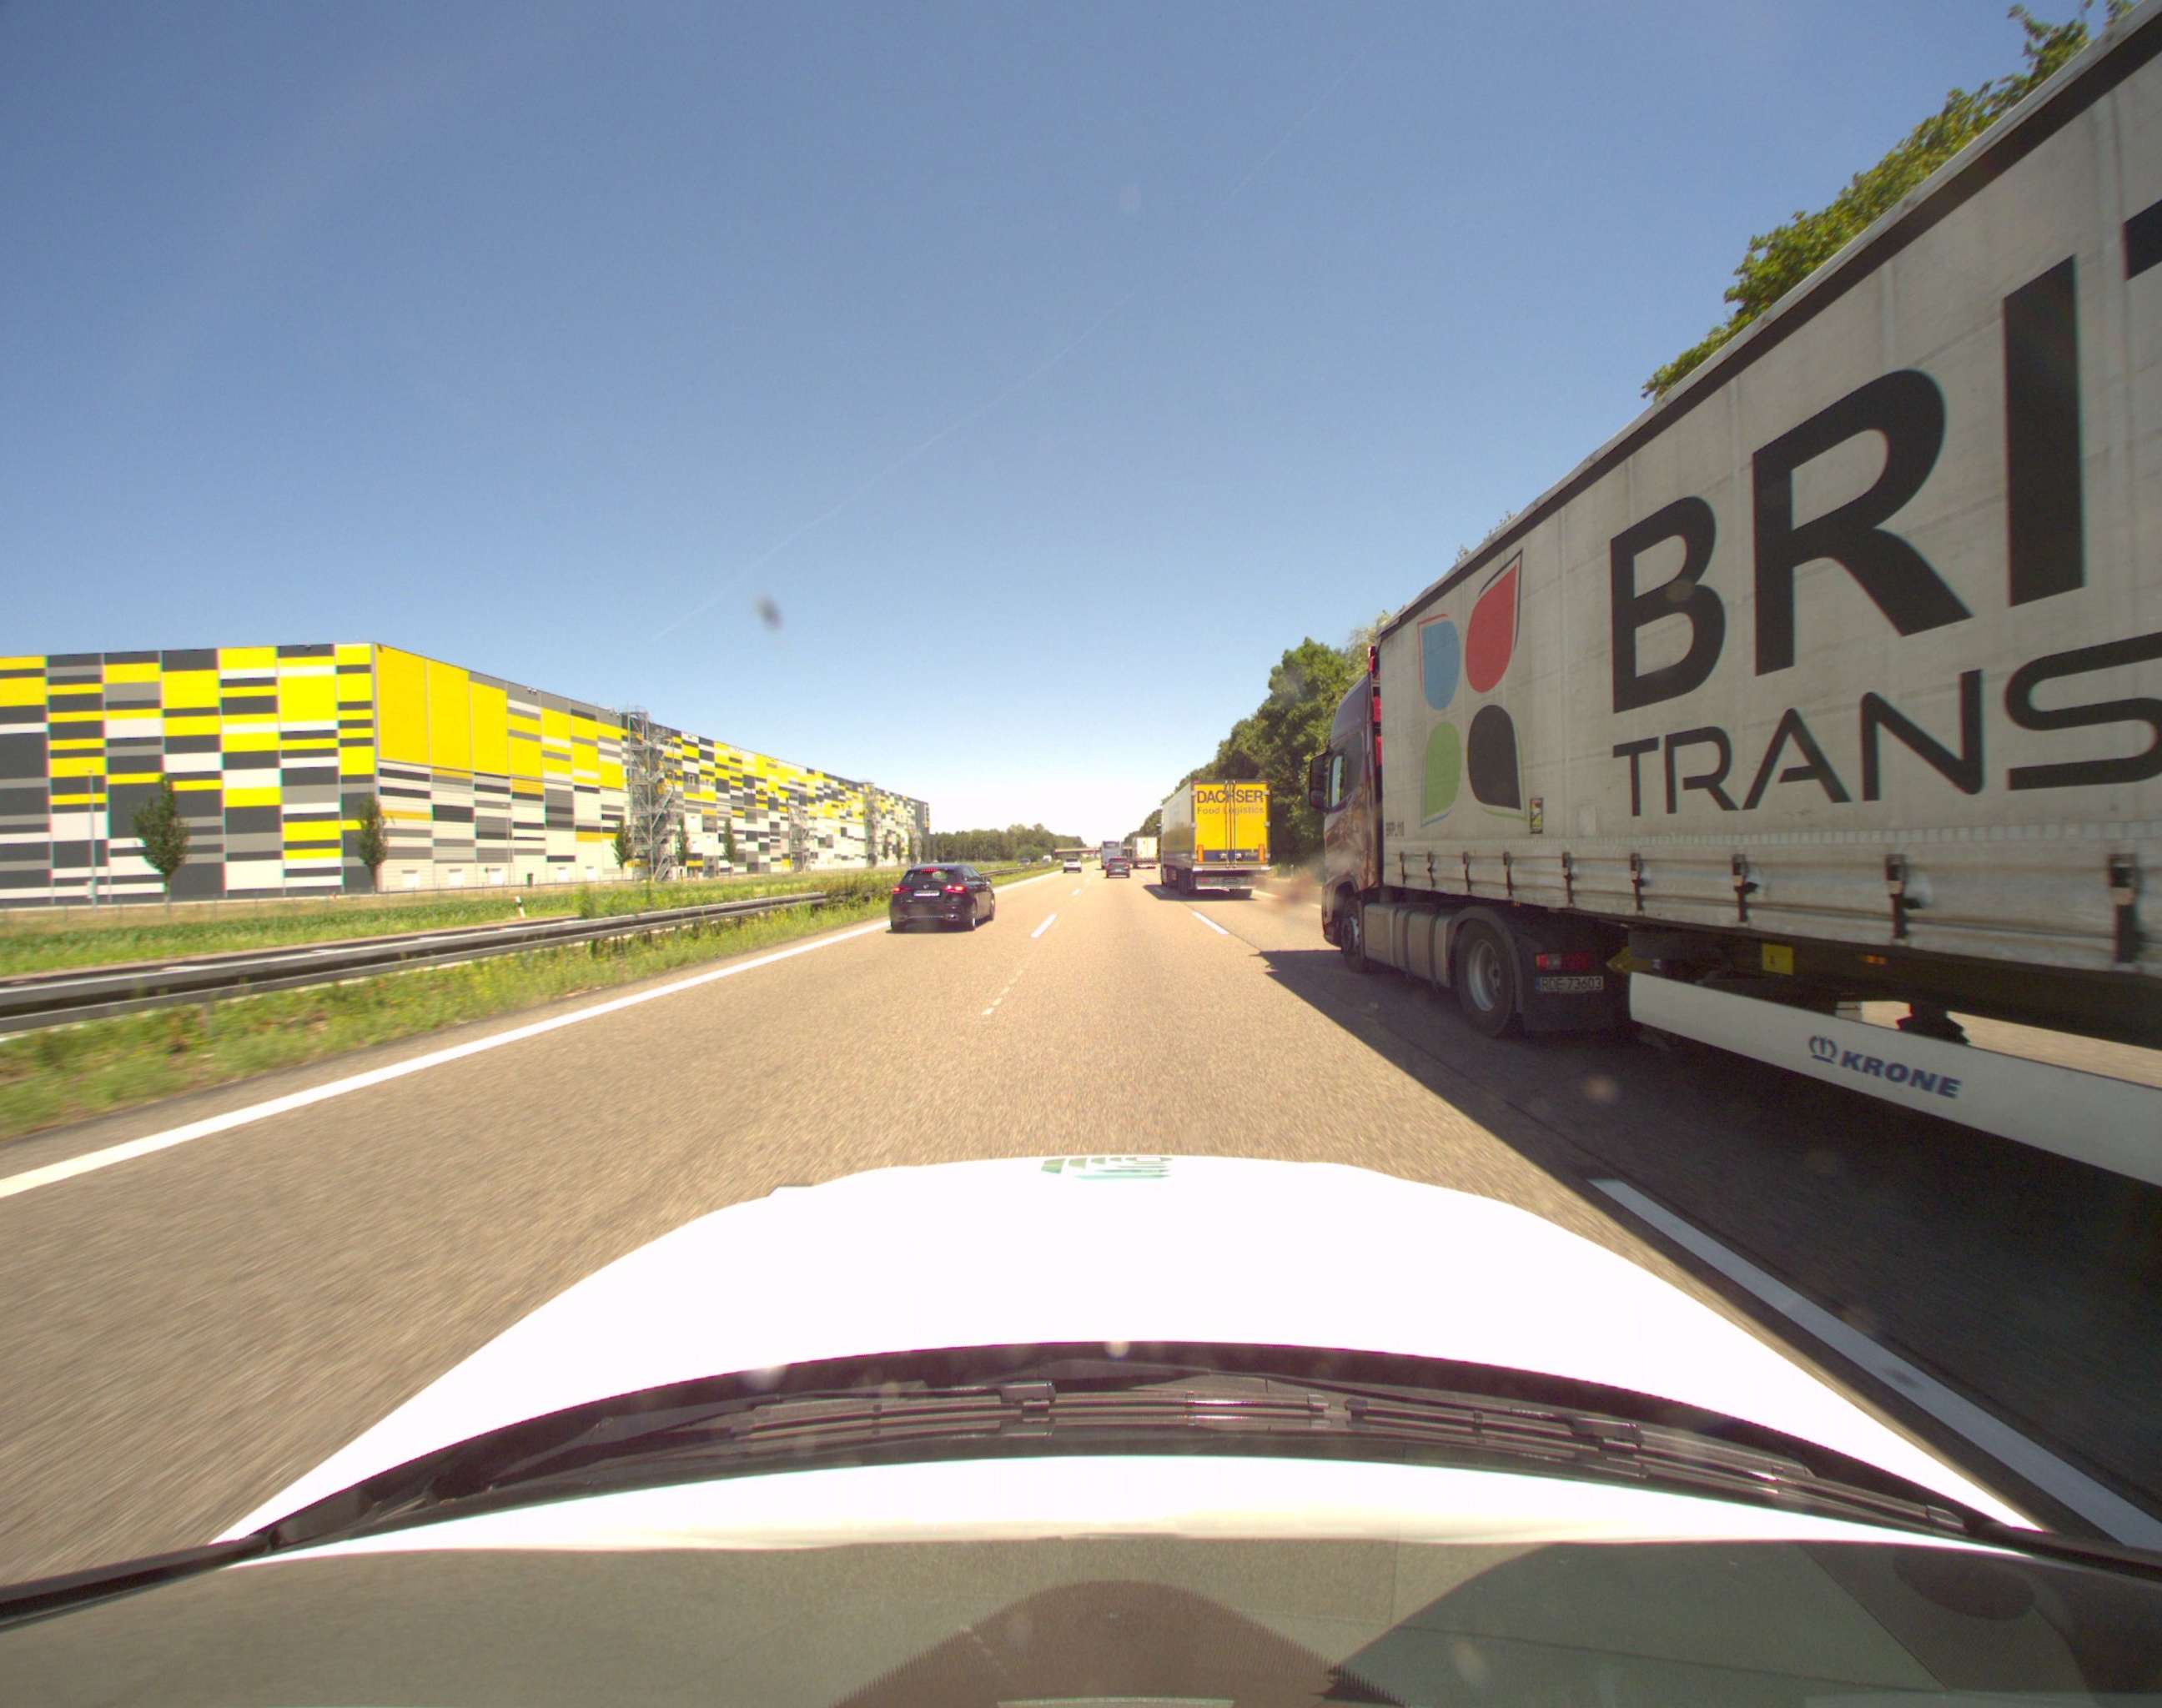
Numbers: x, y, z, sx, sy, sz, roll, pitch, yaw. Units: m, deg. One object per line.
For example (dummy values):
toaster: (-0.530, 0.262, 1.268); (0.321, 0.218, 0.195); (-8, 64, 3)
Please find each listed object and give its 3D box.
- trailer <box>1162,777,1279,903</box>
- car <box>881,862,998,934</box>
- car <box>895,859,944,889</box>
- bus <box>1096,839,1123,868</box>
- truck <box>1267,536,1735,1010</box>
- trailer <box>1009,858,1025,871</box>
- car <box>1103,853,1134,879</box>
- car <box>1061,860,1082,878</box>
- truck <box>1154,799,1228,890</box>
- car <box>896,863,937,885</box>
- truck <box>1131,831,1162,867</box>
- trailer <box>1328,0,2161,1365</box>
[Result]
trailer: (5.053, -0.441, 31.923); (2.824, 3.954, 11.687); (-1, 0, 2)
car: (-3.093, 0.916, 18.582); (1.785, 1.412, 4.054); (-1, 0, 2)
car: (-10.950, 1.306, 55.512); (2.038, 1.806, 5.420); (-3, 0, 2)
bus: (3.527, -0.044, 101.860); (3.052, 3.326, 8.274); (-3, 0, 1)
truck: (4.643, -0.737, 10.717); (3.076, 4.441, 6.054); (-1, -1, 1)
trailer: (-9.489, 1.569, 121.236); (1.938, 1.789, 5.237); (-3, 0, 1)
car: (2.766, 0.872, 60.852); (2.208, 1.790, 5.395); (-2, 0, 2)
car: (-0.941, 1.472, 83.199); (1.986, 1.728, 4.131); (-1, 0, 1)
truck: (5.271, -0.411, 40.188); (2.803, 4.006, 6.646); (-2, 0, 1)
car: (-14.645, 1.756, 72.730); (2.307, 1.815, 5.354); (-3, 0, 2)
truck: (8.113, -0.571, 102.228); (3.409, 4.126, 9.571); (-3, 0, 3)
trailer: (4.585, -0.833, 3.298); (3.094, 4.507, 14.902); (-1, -1, 2)
